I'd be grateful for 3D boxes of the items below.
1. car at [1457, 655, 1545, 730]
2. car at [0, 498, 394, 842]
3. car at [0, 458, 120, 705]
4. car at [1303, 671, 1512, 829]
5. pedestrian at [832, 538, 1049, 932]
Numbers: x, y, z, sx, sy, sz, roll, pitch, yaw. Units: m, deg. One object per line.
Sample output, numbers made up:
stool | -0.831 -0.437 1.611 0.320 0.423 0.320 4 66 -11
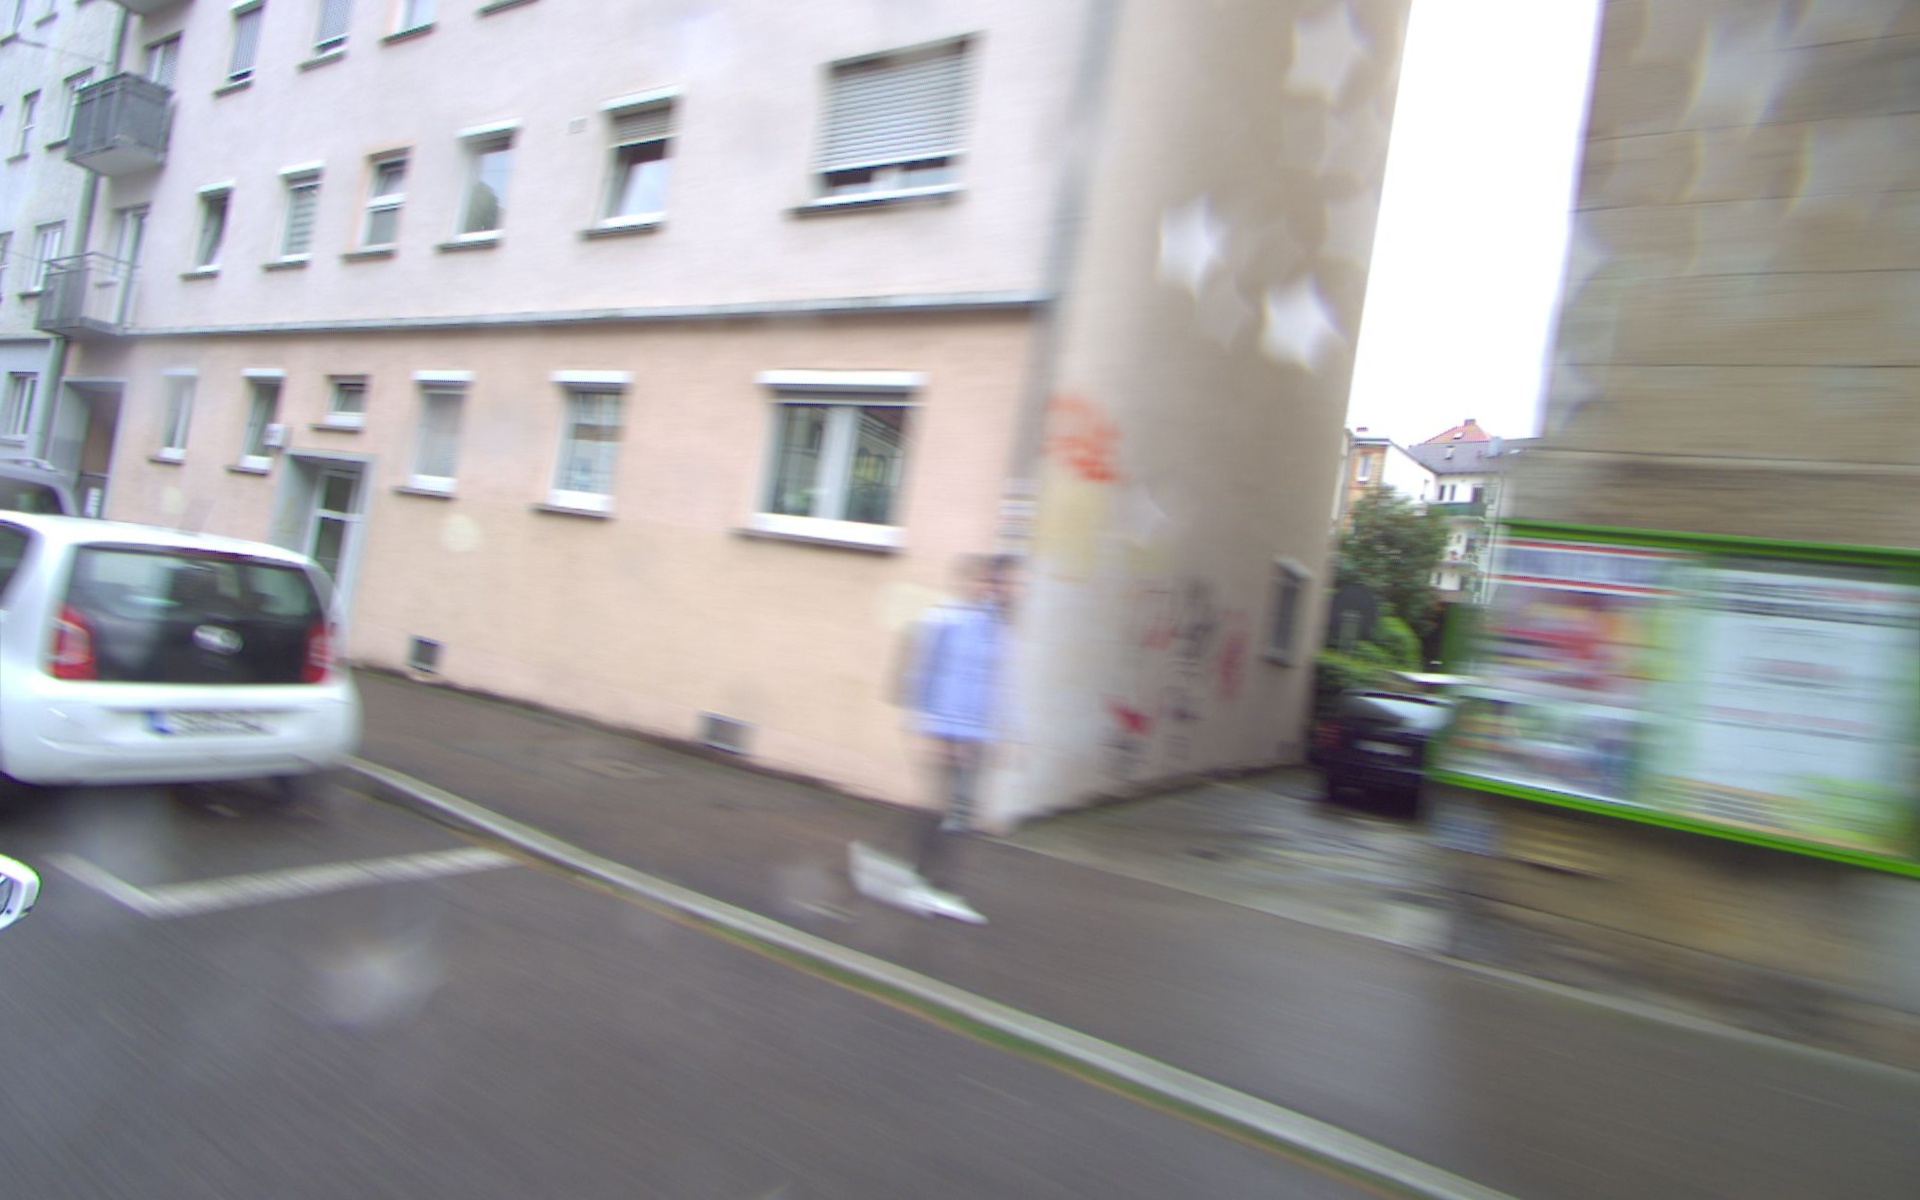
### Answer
car | 15.382 2.665 28.504 1.846 1.702 3.997 7 -3 31
car | -5.181 0.219 5.949 3.540 1.479 1.573 7 -2 32
car | -8.847 -0.364 8.127 4.141 1.786 1.794 7 -1 31
car | 5.883 1.852 12.943 1.658 1.485 3.992 7 -2 34
pedestrian | -0.092 0.639 5.079 0.677 1.785 0.608 7 0 31
